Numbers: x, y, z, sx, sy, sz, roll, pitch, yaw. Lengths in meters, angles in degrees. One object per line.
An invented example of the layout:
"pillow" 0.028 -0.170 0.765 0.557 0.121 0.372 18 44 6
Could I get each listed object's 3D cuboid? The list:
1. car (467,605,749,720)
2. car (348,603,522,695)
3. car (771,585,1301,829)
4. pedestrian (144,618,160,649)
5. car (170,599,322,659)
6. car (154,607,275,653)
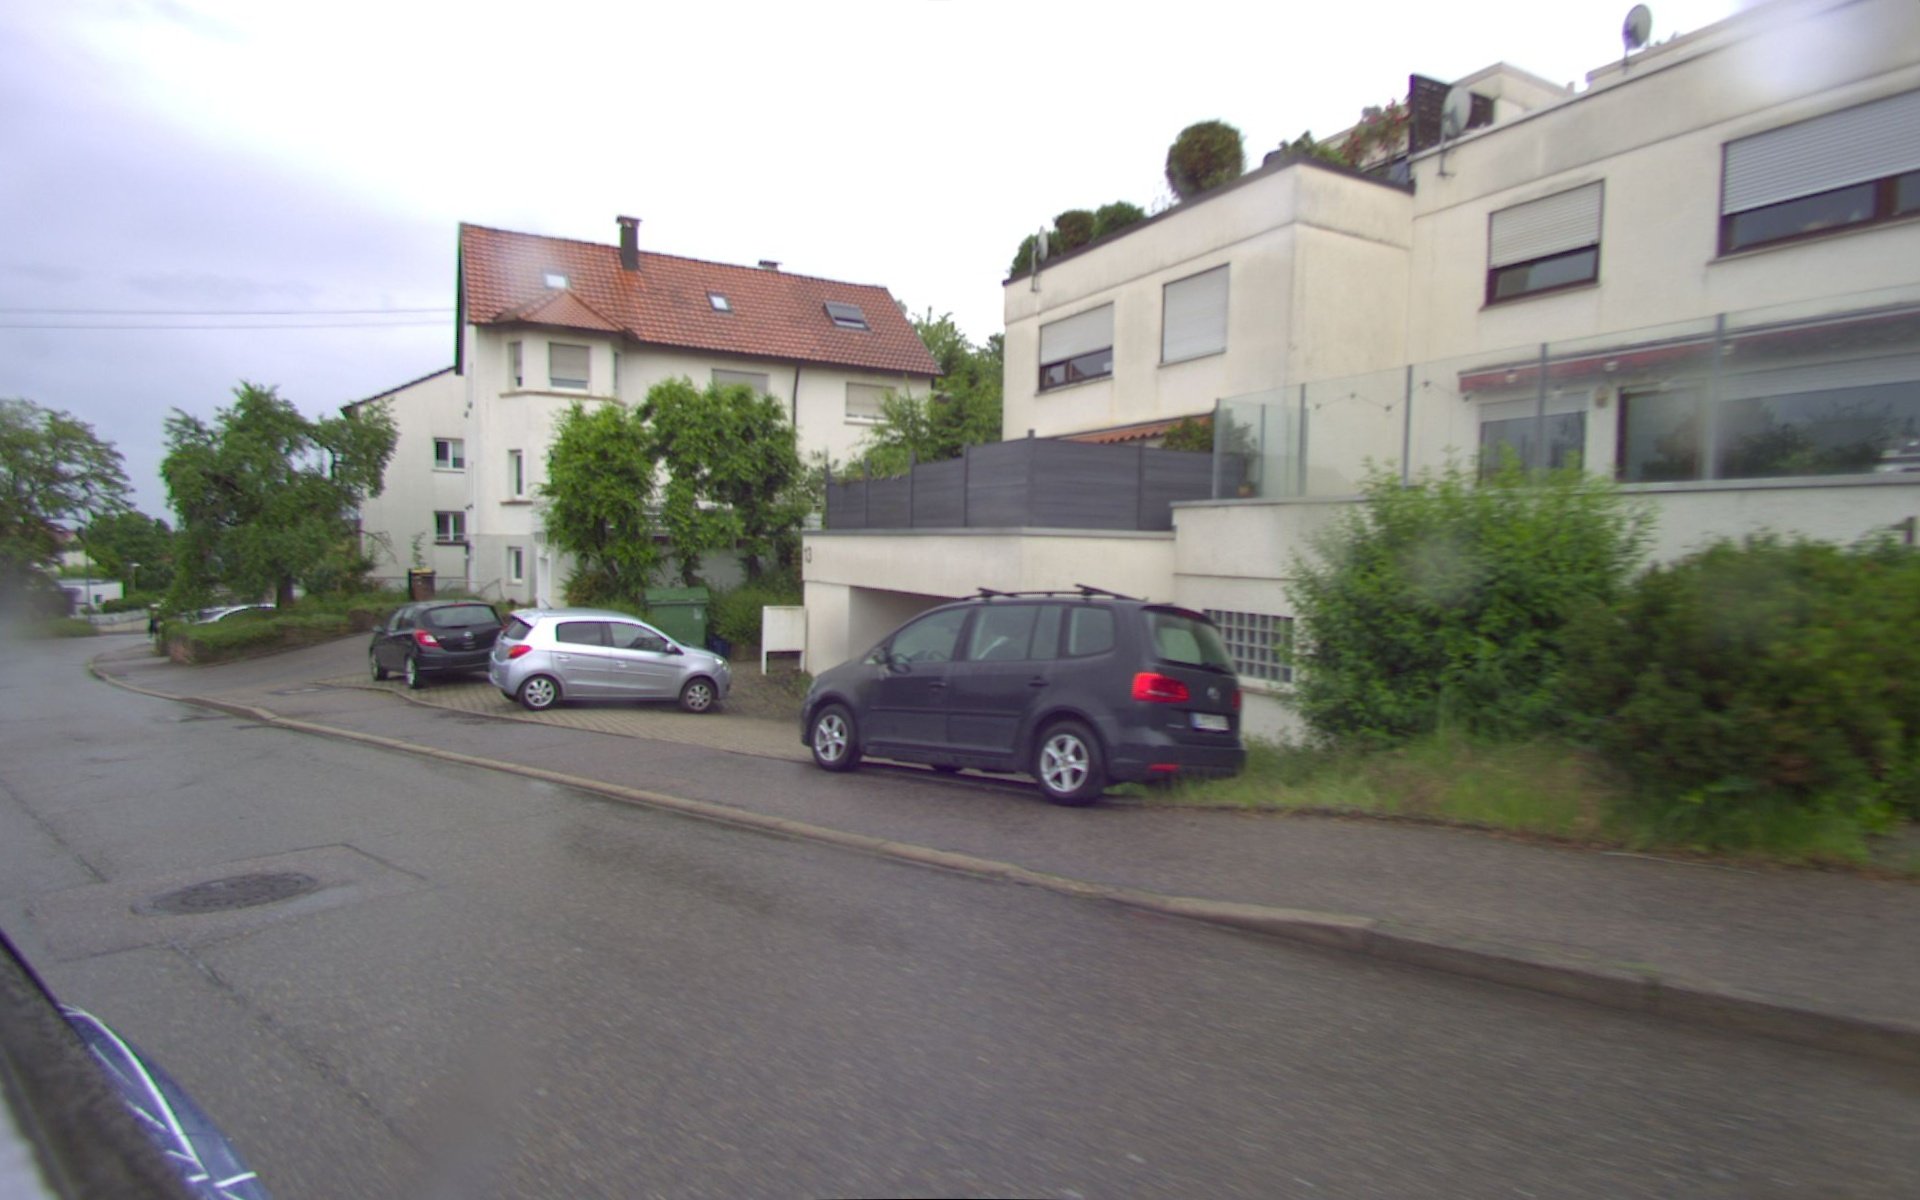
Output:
"car" -5.518 1.014 16.024 3.775 1.489 1.808 7 -5 -34
"car" -9.754 0.820 18.649 1.745 1.386 4.253 -5 3 -42
"car" 0.458 0.732 8.794 4.415 1.609 1.784 -1 -1 41
"pedestrian" -44.142 1.807 55.292 0.647 1.661 0.734 -1 -2 -38
"car" -25.927 1.013 36.930 4.196 1.441 1.772 -11 5 -29
"car" -35.897 1.408 48.888 4.452 1.625 1.937 -8 4 -35
